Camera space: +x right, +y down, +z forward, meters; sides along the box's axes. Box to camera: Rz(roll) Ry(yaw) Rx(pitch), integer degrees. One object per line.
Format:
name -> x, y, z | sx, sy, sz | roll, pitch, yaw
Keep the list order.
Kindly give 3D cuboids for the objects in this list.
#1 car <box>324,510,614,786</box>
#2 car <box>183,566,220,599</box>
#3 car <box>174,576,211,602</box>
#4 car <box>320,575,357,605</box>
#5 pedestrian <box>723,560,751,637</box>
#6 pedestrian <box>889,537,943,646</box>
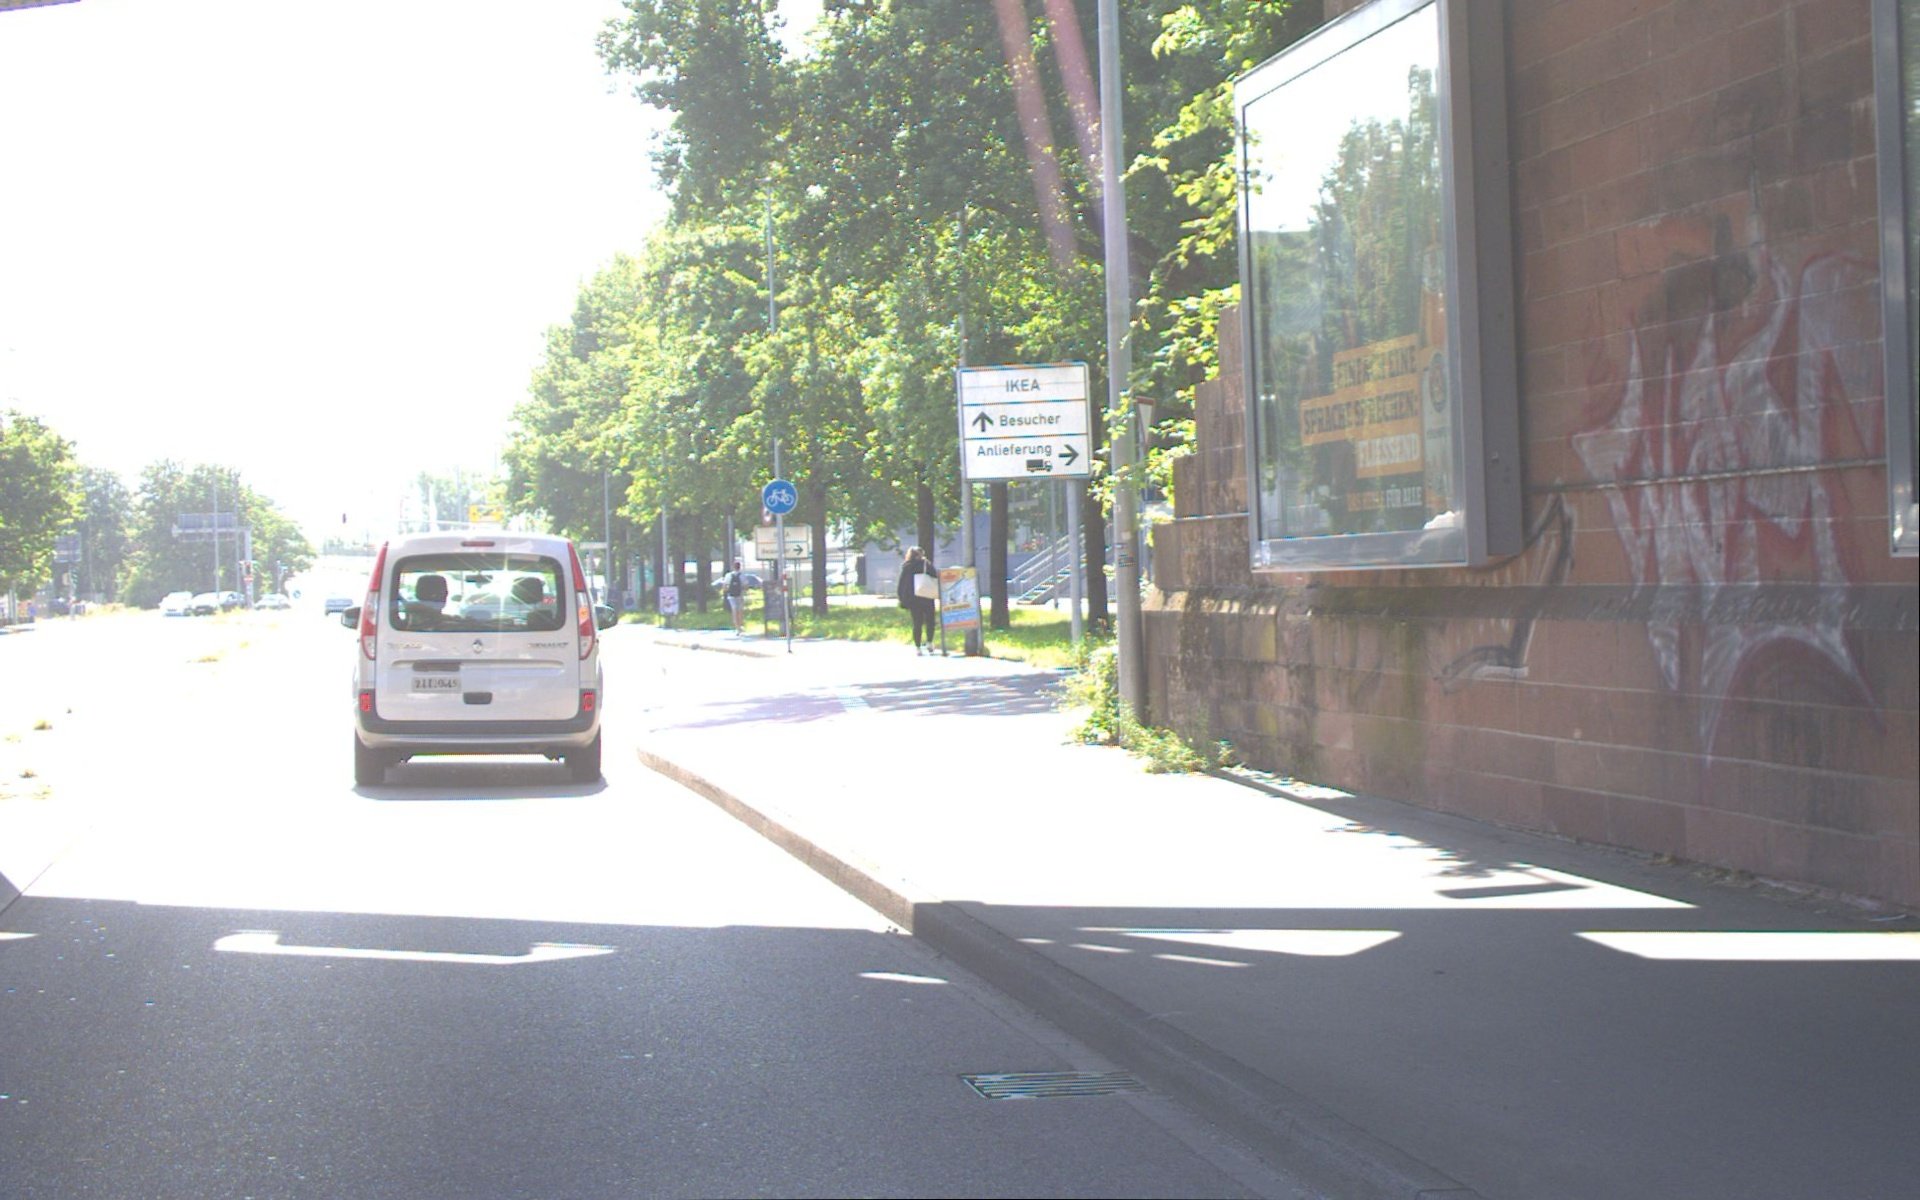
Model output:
car -> -3.665, 0.312, 25.558 | 1.905, 1.822, 4.181 | -2, 1, -9
car -> -48.216, -1.135, 218.461 | 1.993, 2.007, 4.001 | 0, 1, -8
car -> -47.322, -0.689, 212.039 | 1.841, 1.458, 5.001 | -4, 1, -9
car -> -35.943, -0.587, 198.818 | 1.993, 1.678, 4.001 | -2, 1, -9
pedestrian -> -5.346, -0.039, 82.441 | 0.535, 1.835, 0.728 | -2, 0, -9
pedestrian -> -0.658, -0.131, 51.533 | 0.647, 1.598, 0.847 | -2, 1, -8
